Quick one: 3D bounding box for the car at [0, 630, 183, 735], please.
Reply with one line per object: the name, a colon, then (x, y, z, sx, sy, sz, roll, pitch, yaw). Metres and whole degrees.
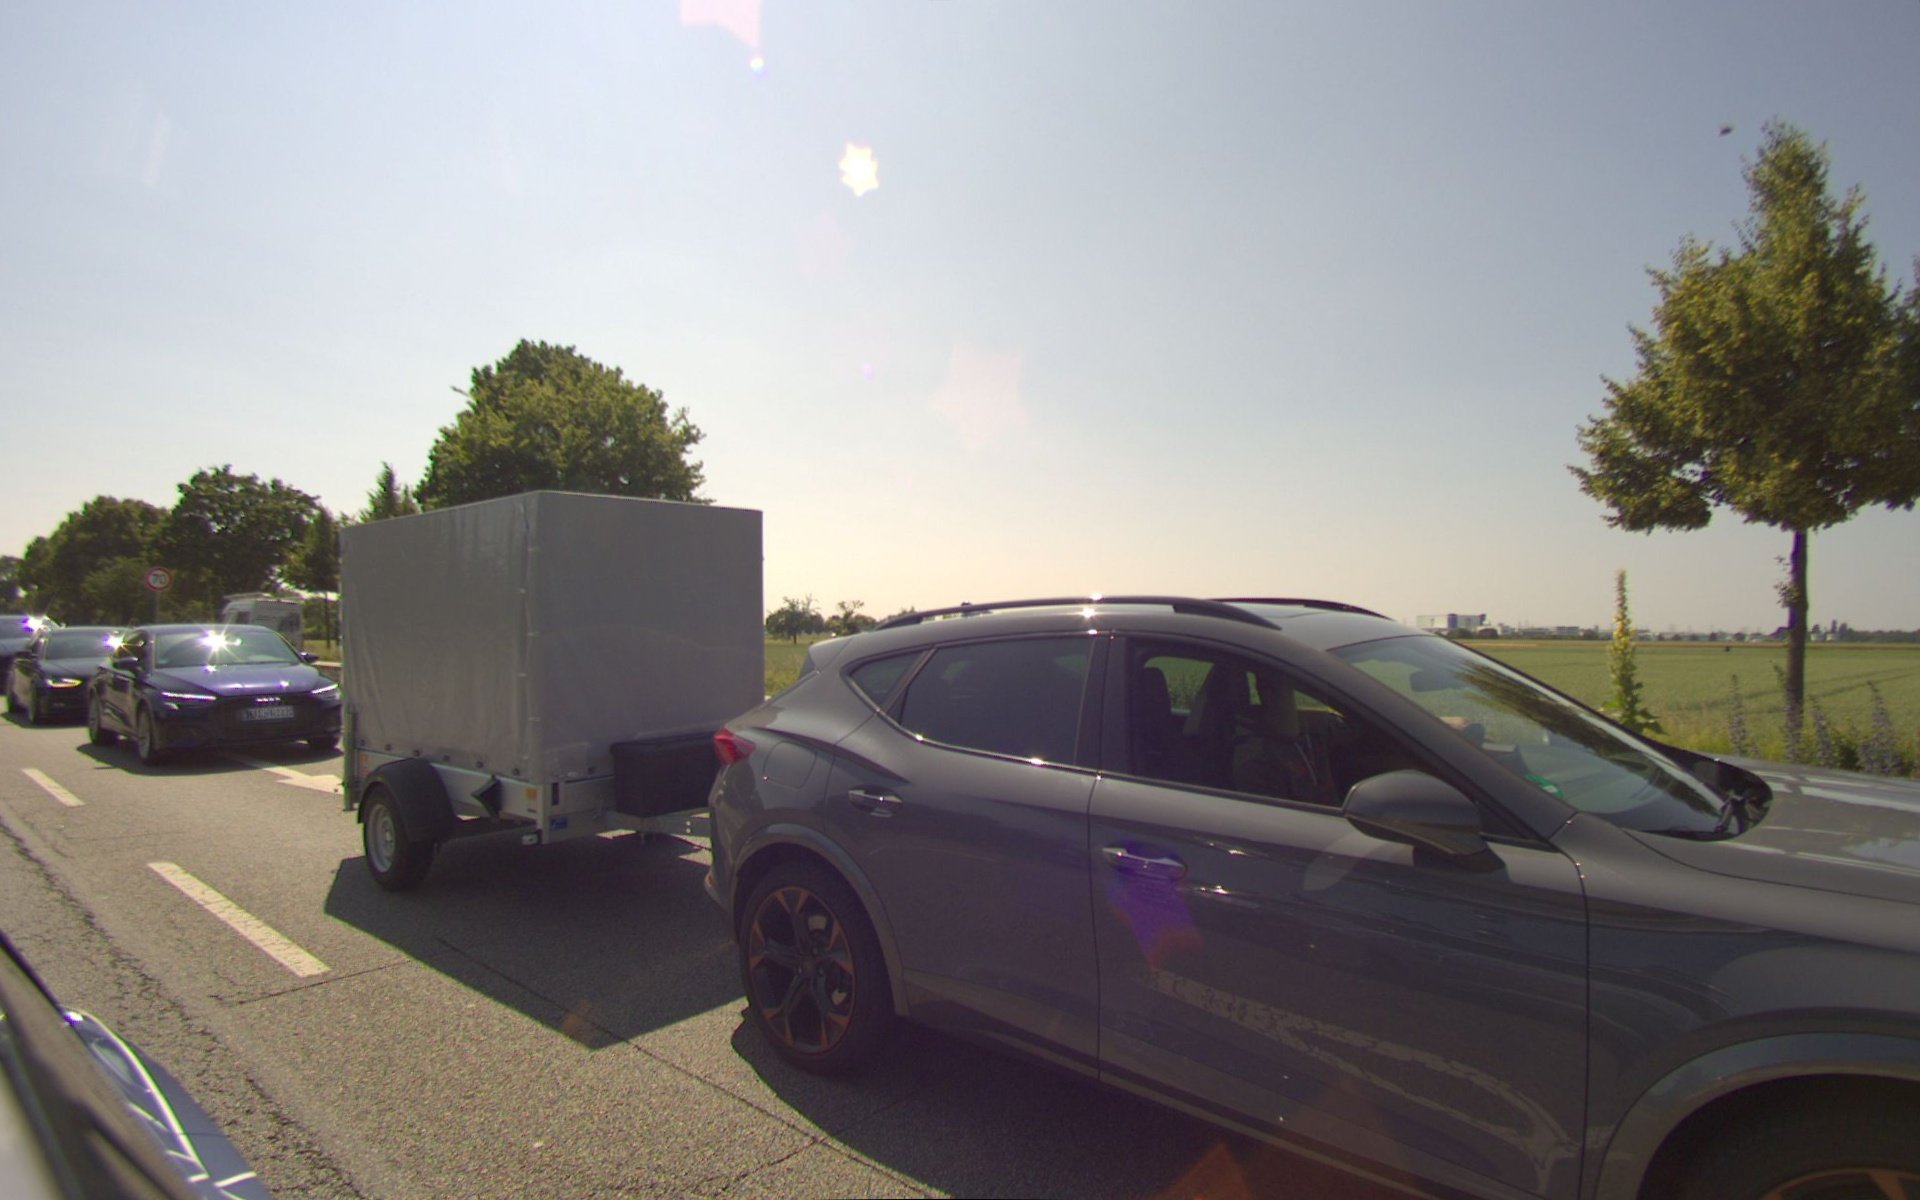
car: (-13.840, 1.186, 15.952, 4.453, 1.391, 1.722, -1, -1, 41)

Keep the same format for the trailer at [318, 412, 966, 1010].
trailer: (-2.039, 0.452, 5.651, 4.172, 2.190, 1.485, -2, -1, 41)

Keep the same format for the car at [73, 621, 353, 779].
car: (-8.655, 1.005, 11.606, 4.027, 1.476, 1.700, -1, -1, 40)

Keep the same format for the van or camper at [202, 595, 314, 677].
van or camper: (-28.568, 1.452, 41.119, 5.690, 3.123, 2.240, -2, -3, 40)

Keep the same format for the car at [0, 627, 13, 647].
car: (-73.556, 2.817, 76.883, 4.501, 1.465, 1.859, -1, -2, 41)

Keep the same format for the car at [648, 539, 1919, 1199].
car: (1.069, 0.698, 2.921, 4.360, 1.514, 1.727, -2, -1, 41)

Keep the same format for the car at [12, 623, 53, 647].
car: (-79.198, 2.947, 86.393, 4.827, 1.966, 1.973, -1, -4, 41)

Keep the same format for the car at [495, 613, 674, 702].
car: (-8.857, 1.297, 23.668, 4.693, 1.870, 1.838, -2, -3, 40)

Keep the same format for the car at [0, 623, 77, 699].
car: (-20.685, 1.274, 21.952, 4.099, 1.527, 1.836, -1, -1, 42)
